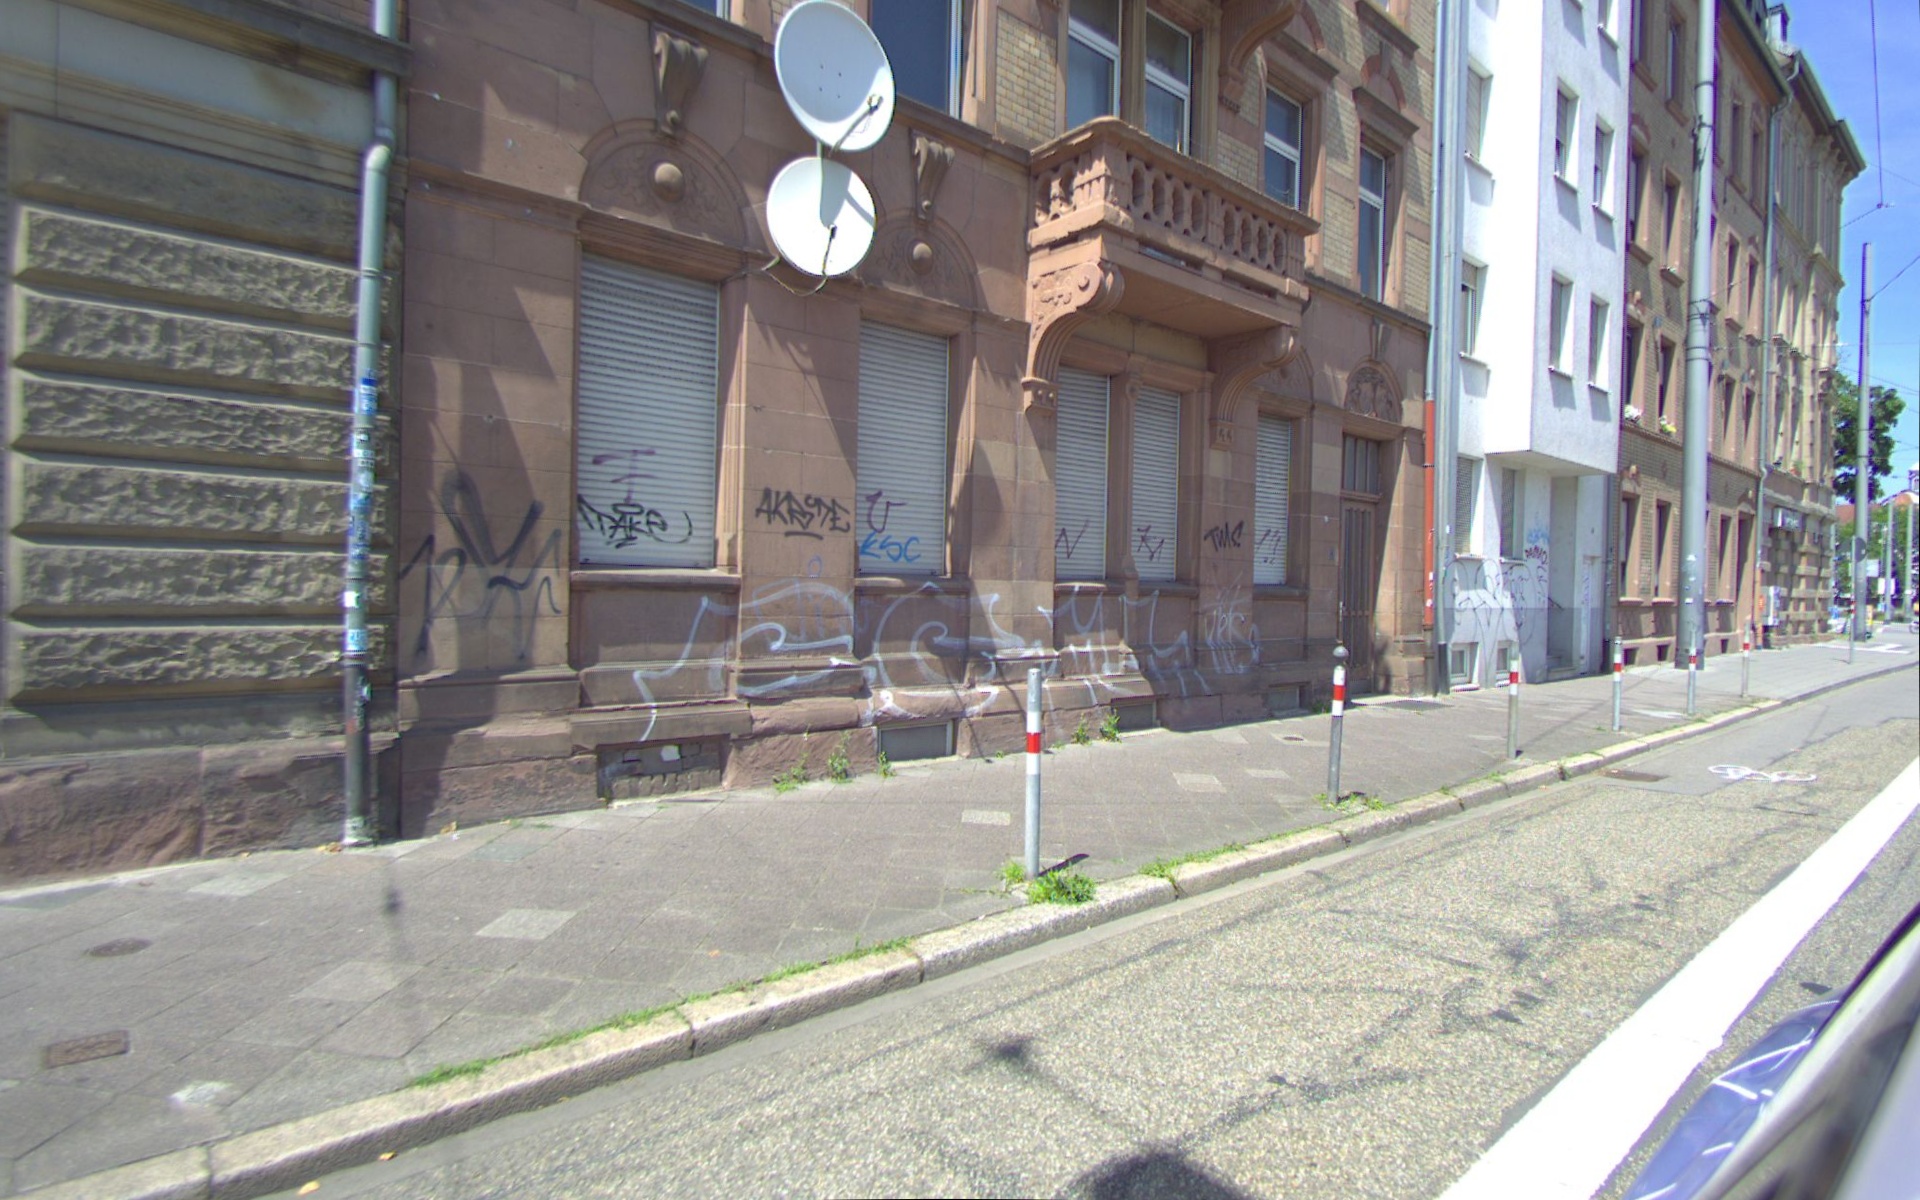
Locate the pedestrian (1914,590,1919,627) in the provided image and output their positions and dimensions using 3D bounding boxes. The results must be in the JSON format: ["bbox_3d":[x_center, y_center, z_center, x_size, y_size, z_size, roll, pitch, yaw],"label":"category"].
[{"bbox_3d":[47.580,0.436,49.636,0.810,1.797,0.813,1,1,6],"label":"pedestrian"}]

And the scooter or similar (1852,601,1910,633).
[{"bbox_3d":[36.302,0.662,39.904,1.507,1.170,0.710,2,1,22],"label":"scooter or similar"}]

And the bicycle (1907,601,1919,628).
[{"bbox_3d":[48.062,0.741,49.581,2.182,1.266,1.098,1,1,6],"label":"bicycle"}]
